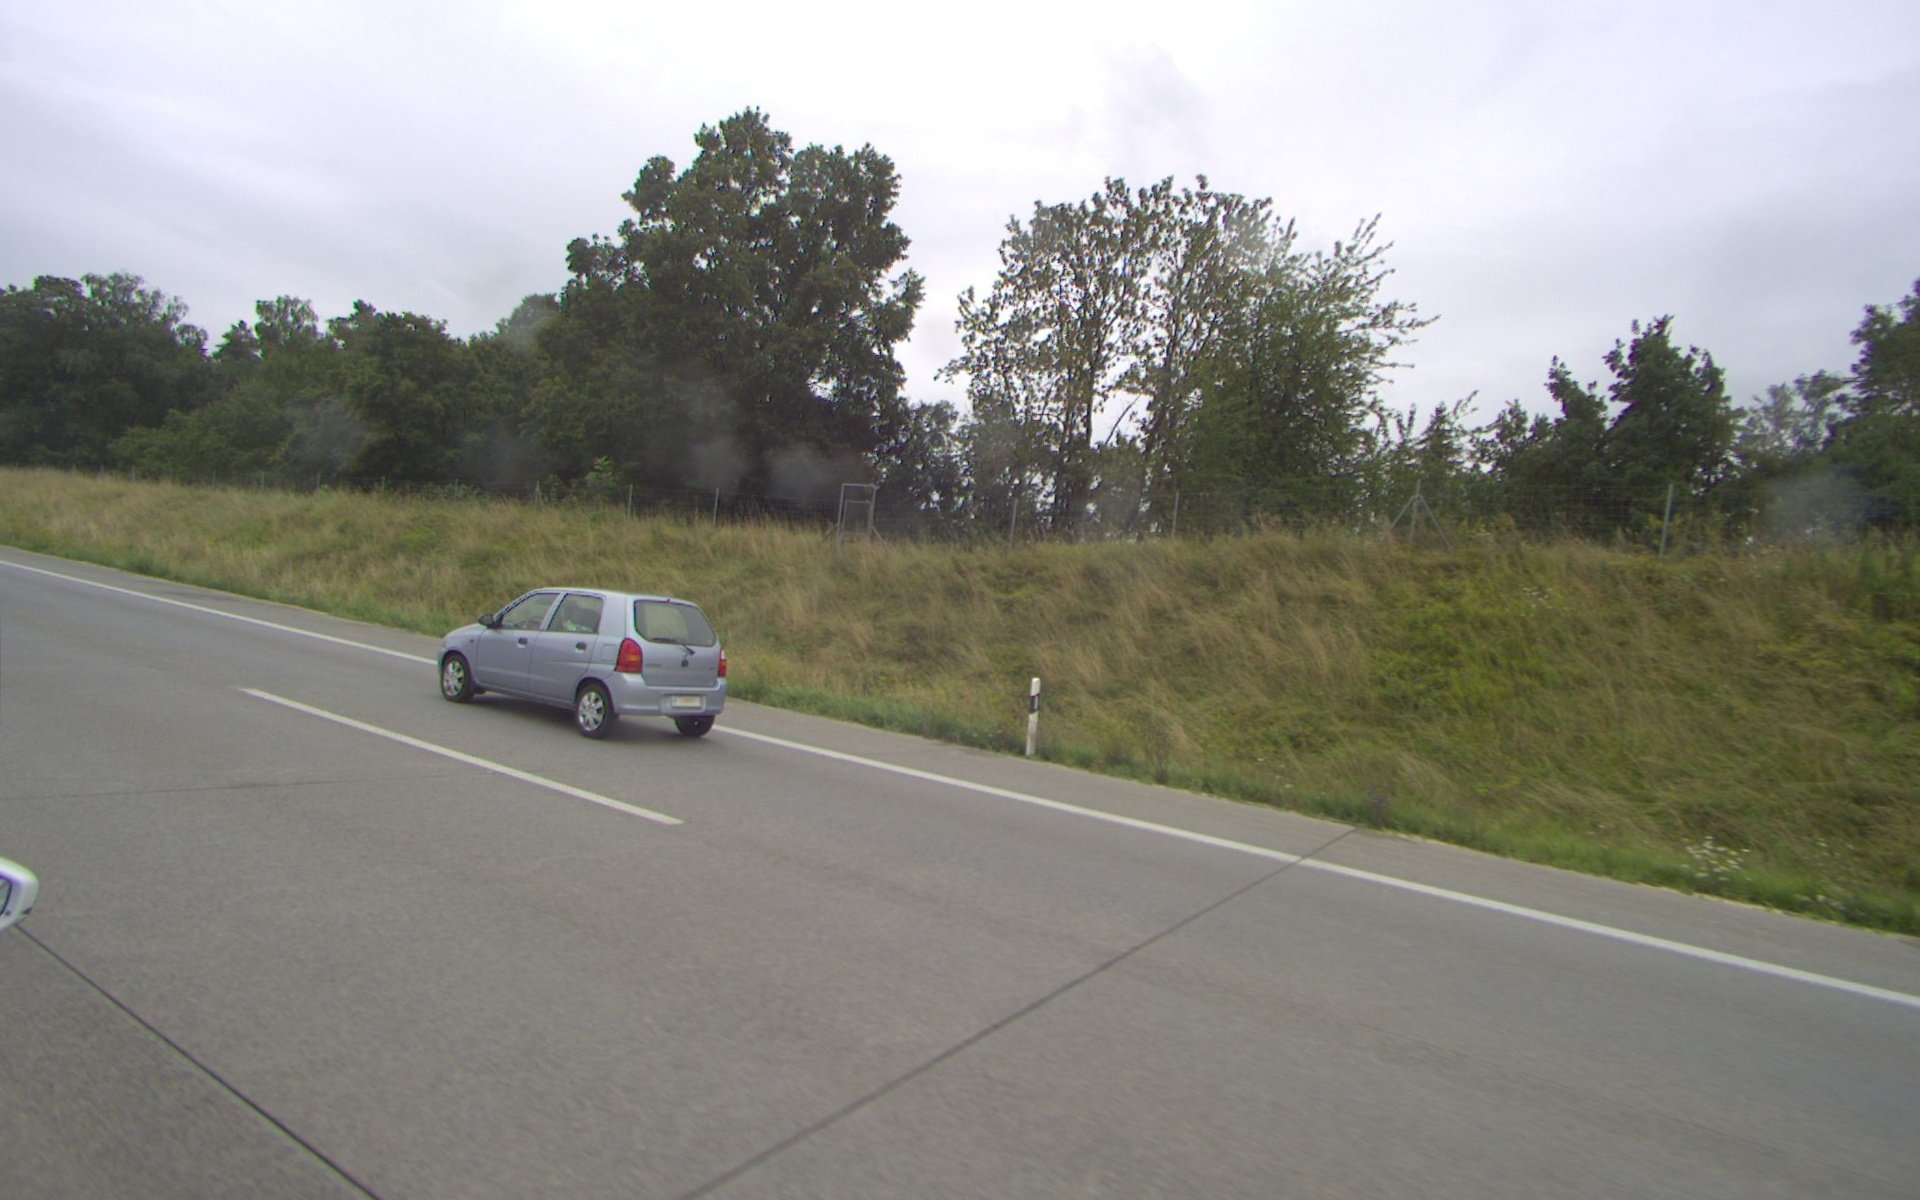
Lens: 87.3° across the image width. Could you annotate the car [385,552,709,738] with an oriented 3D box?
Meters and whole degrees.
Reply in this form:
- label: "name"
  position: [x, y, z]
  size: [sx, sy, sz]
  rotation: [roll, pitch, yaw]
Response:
- label: "car"
  position: [-4.664, 0.458, 11.250]
  size: [3.446, 1.488, 1.488]
  rotation: [8, 0, 32]
